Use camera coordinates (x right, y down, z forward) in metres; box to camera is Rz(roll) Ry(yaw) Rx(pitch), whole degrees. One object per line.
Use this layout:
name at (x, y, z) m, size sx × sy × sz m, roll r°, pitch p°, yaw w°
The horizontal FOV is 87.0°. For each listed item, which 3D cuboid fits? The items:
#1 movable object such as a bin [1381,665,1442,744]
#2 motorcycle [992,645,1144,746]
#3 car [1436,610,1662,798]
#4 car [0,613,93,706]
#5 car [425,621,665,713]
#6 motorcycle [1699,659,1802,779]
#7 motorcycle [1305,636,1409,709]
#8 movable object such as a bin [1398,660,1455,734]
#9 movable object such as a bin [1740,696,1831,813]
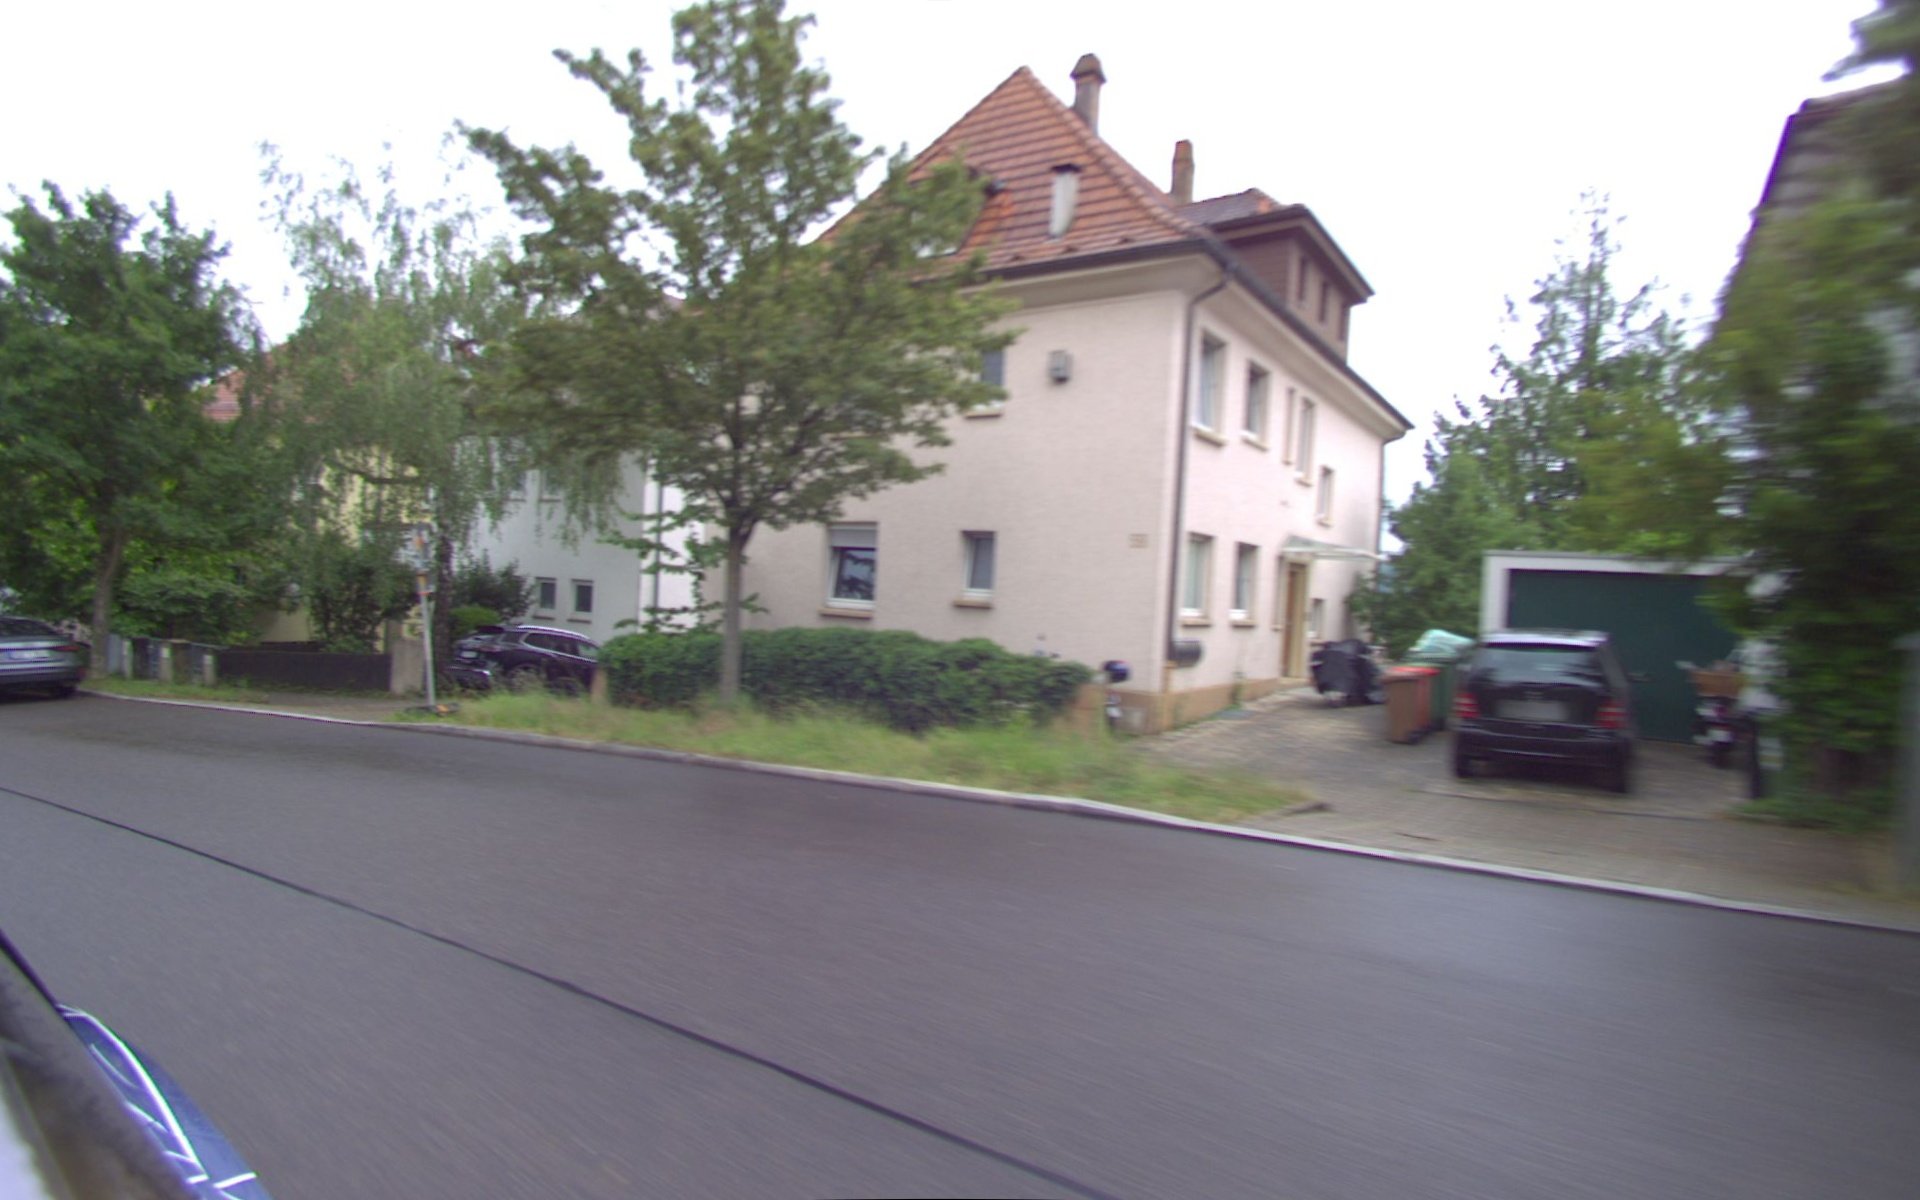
movable object such as a bin at (5.876, 1.340, 13.167) m, size 0.591 × 0.928 × 0.680 m, roll -1°, pitch 0°, yaw 36°
motorcycle at (1.472, 1.276, 13.931) m, size 1.962 × 1.258 × 0.726 m, roll -1°, pitch 0°, yaw 32°
car at (6.853, 0.997, 11.574) m, size 1.860 × 1.554 × 3.906 m, roll -1°, pitch 2°, yaw 36°
car at (-16.762, 0.944, 17.041) m, size 4.507 × 1.393 × 1.697 m, roll 0°, pitch 1°, yaw 27°
car at (-8.594, 1.462, 21.321) m, size 1.910 × 1.516 × 4.201 m, roll 0°, pitch -8°, yaw 36°
motorcycle at (8.867, 1.283, 11.412) m, size 0.760 × 1.111 × 1.691 m, roll 1°, pitch 1°, yaw 33°
motorcycle at (6.663, 1.188, 16.949) m, size 1.903 × 1.098 × 0.646 m, roll 0°, pitch 1°, yaw -33°
movable object such as a bin at (6.366, 1.311, 13.812) m, size 0.591 × 0.928 × 0.608 m, roll -1°, pitch 0°, yaw 36°
movable object such as a bin at (7.473, 1.379, 9.189) m, size 0.591 × 0.928 × 0.663 m, roll -1°, pitch 0°, yaw 36°
